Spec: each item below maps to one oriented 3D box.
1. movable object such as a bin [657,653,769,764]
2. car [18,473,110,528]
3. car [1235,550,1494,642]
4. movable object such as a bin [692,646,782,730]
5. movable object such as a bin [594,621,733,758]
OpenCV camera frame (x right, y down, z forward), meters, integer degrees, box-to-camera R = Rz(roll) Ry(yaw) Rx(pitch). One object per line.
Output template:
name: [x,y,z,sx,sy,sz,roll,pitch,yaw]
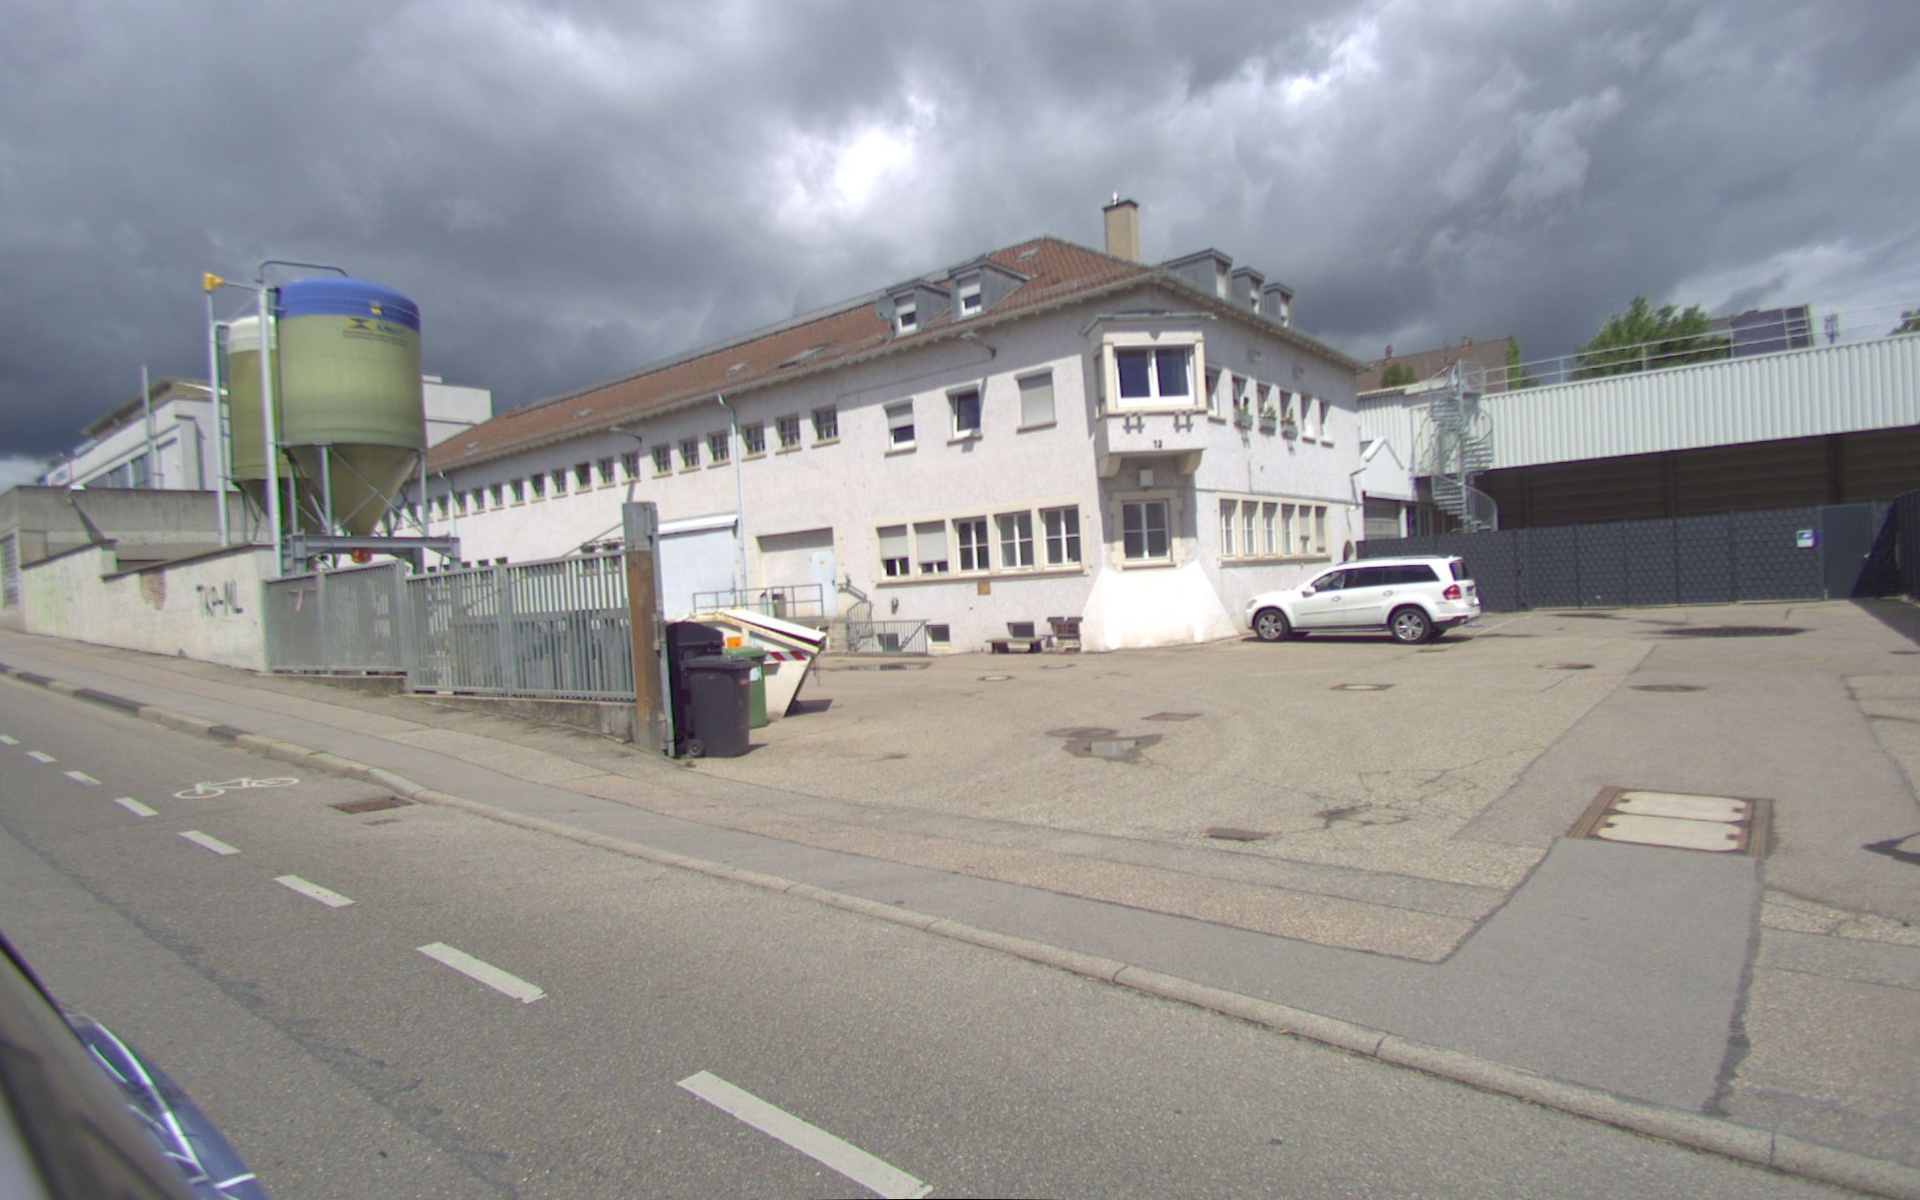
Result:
movable object such as a bin: [-2.599,1.112,10.663,0.740,1.058,0.863,-2,-1,43]
car: [-30.917,-3.362,34.884,4.102,1.648,1.788,1,3,41]
car: [9.107,-0.065,23.044,5.092,1.845,1.974,-2,2,40]
movable object such as a bin: [-2.930,1.154,13.314,0.853,1.009,0.730,-3,1,23]
movable object such as a bin: [-3.321,0.962,11.327,1.215,1.403,0.980,-2,-1,41]
